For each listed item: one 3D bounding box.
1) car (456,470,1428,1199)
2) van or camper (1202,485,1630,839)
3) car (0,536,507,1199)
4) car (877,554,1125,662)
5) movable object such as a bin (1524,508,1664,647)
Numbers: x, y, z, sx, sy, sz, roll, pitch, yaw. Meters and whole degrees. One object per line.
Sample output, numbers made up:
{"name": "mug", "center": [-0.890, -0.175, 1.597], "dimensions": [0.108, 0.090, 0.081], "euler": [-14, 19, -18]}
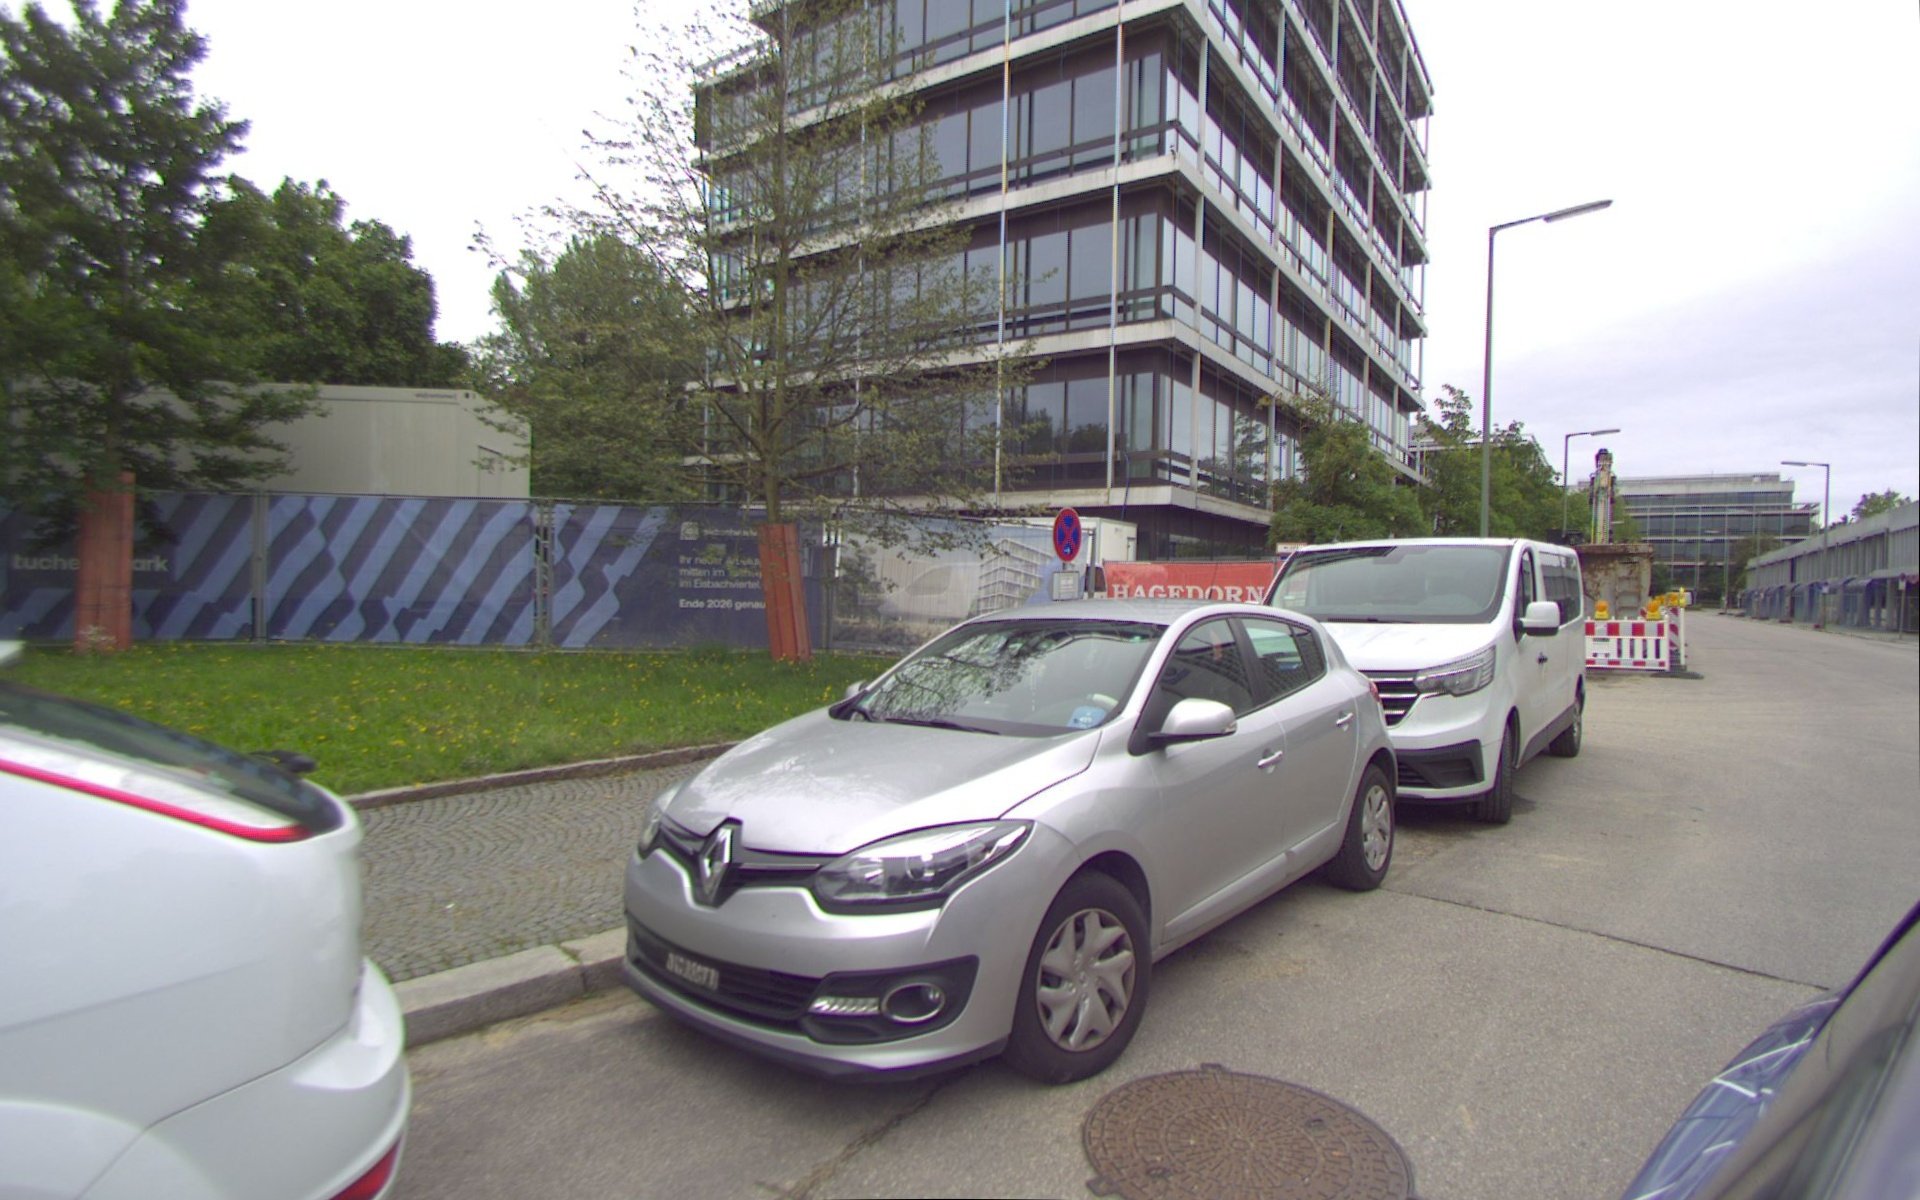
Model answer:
{"name": "car", "center": [0.397, 0.543, 4.576], "dimensions": [1.992, 1.749, 4.384], "euler": [2, 1, 41]}
{"name": "van or camper", "center": [4.141, 0.310, 8.526], "dimensions": [1.990, 2.039, 5.300], "euler": [2, 1, 39]}
{"name": "car", "center": [-2.898, 0.643, 0.979], "dimensions": [4.150, 1.504, 1.768], "euler": [0, 1, -44]}
{"name": "car", "center": [0.755, 0.104, 20.525], "dimensions": [4.747, 1.946, 1.974], "euler": [1, 1, 36]}
{"name": "movable object such as a bin", "center": [19.957, -0.696, 31.892], "dimensions": [3.228, 3.763, 8.903], "euler": [1, 1, 33]}
